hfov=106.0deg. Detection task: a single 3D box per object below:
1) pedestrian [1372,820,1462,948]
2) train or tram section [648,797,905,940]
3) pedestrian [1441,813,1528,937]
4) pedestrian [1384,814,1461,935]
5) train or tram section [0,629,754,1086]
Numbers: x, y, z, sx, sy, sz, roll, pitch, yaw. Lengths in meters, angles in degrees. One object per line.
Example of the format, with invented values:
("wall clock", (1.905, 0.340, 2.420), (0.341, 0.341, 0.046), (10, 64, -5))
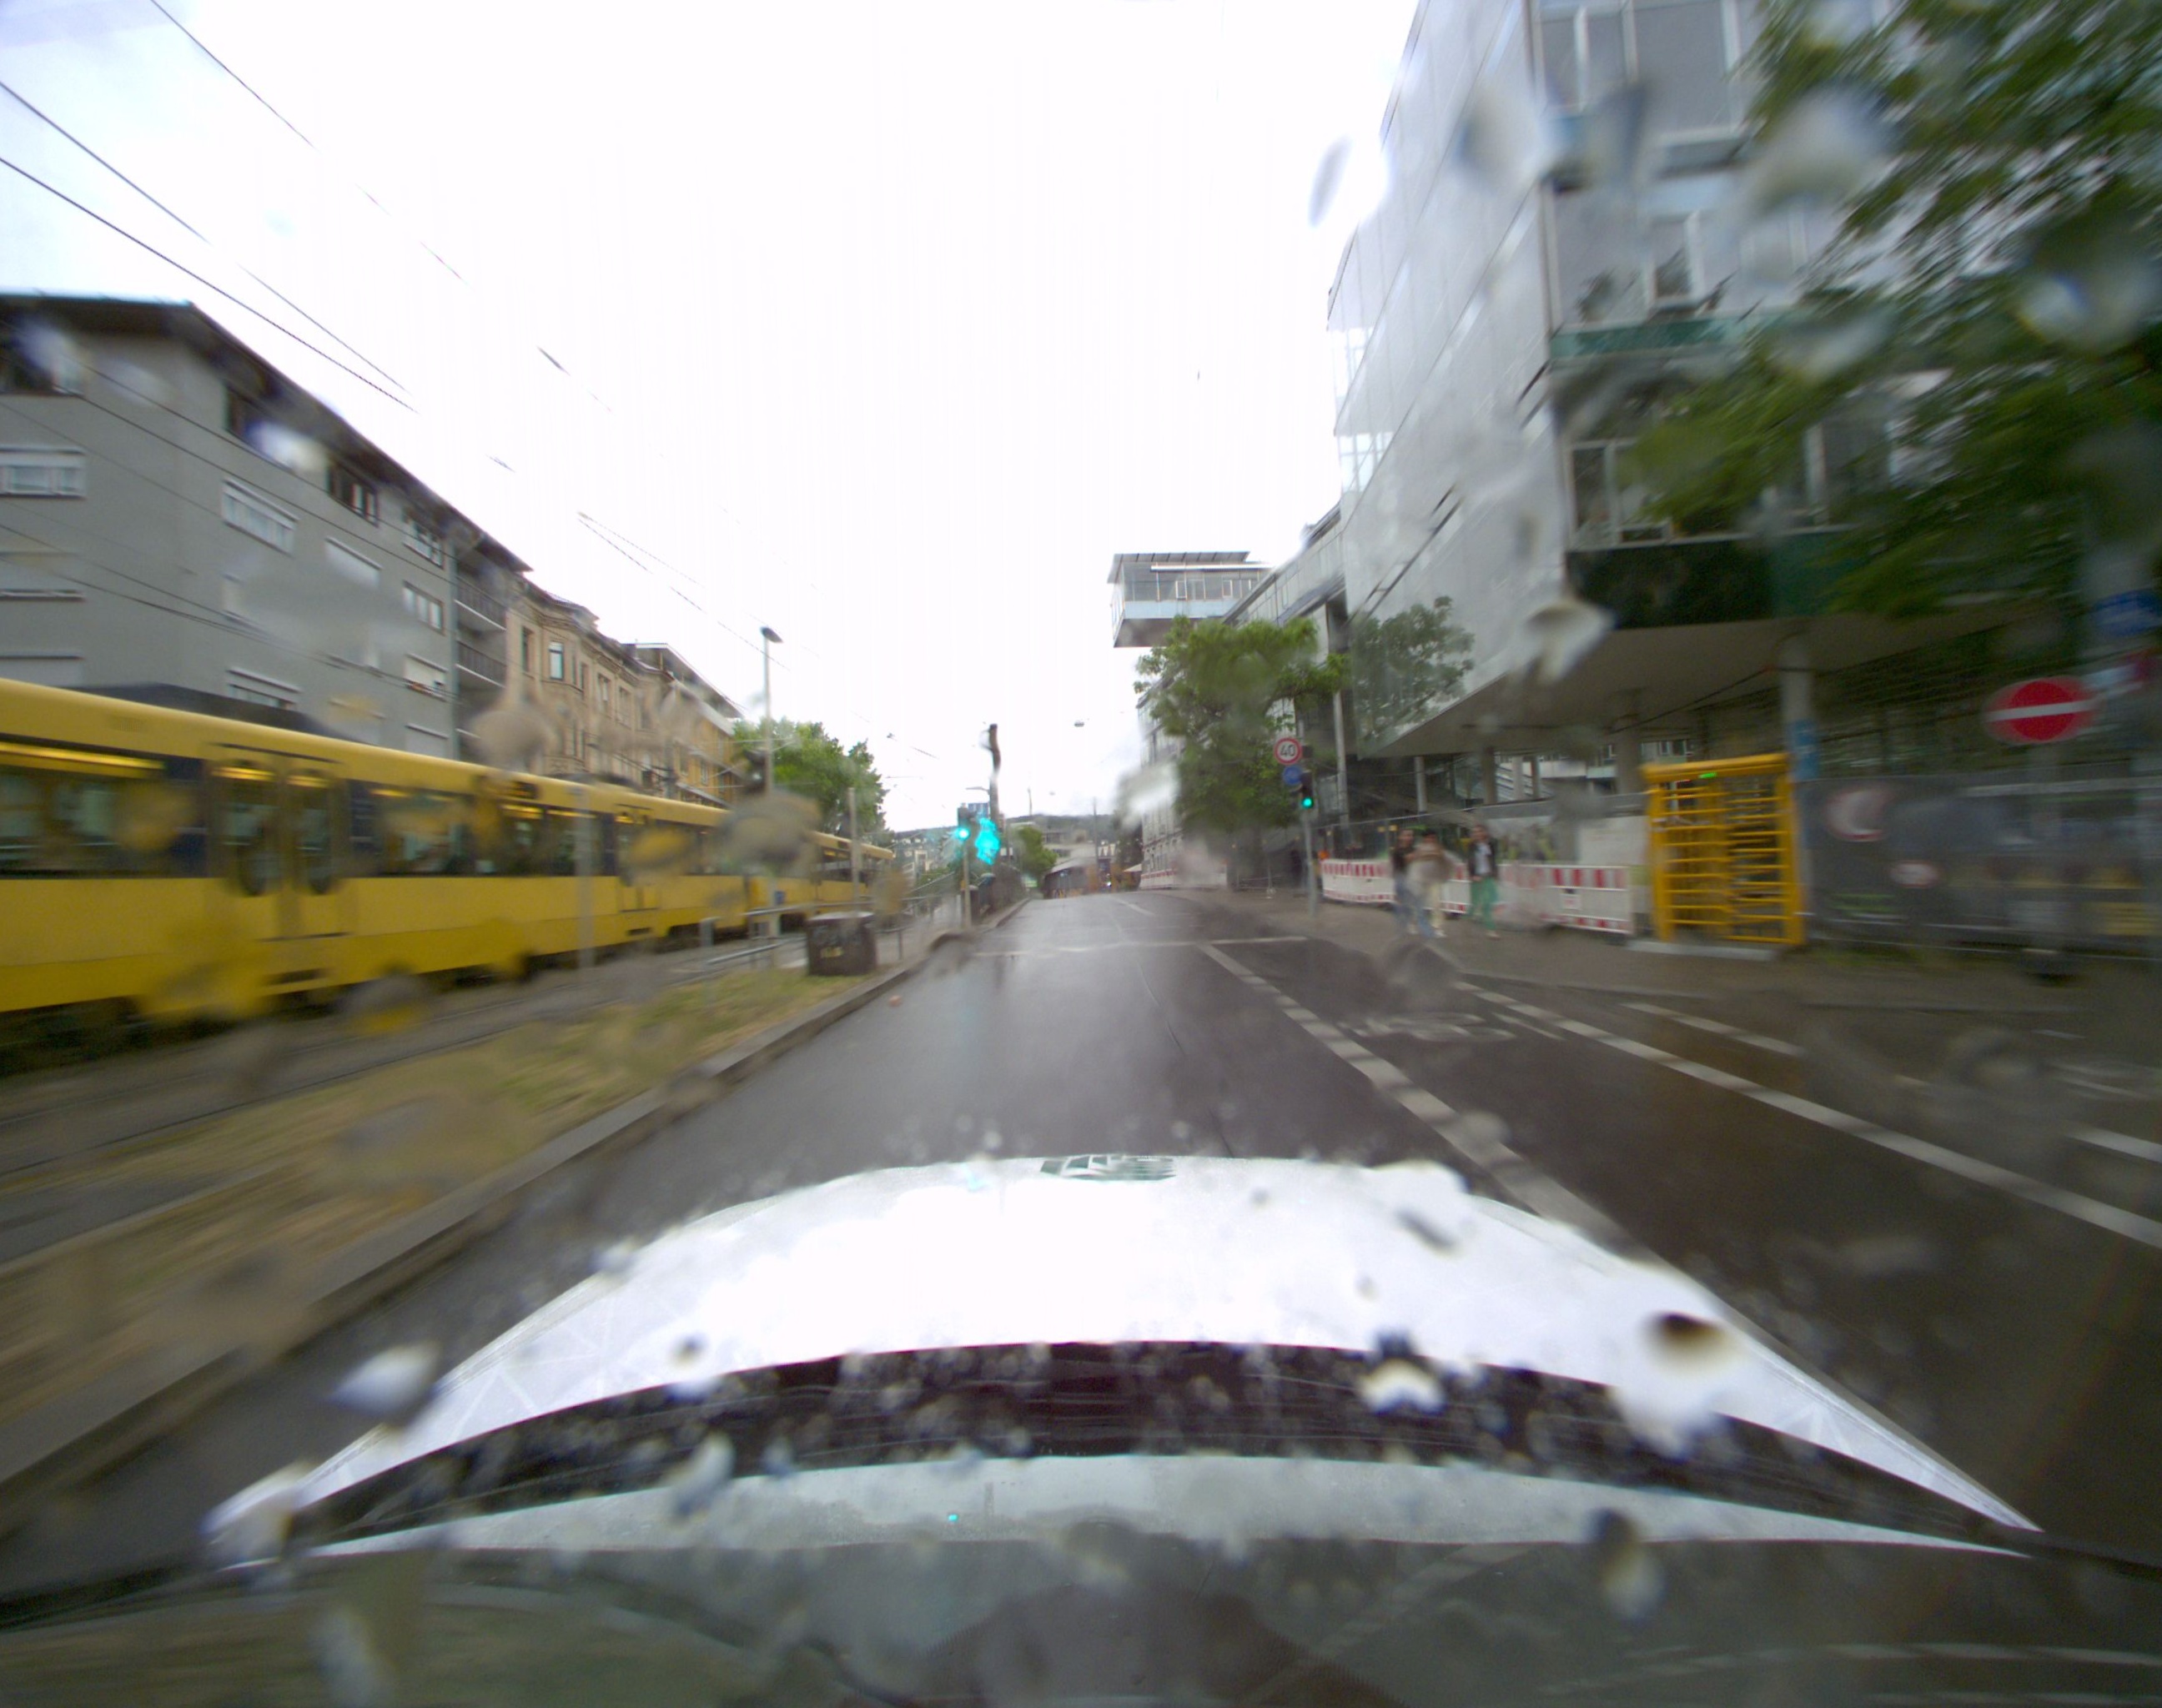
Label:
("pedestrian", (4.827, 0.407, 11.764), (0.735, 1.729, 1.118), (-3, 0, -2))
("train or tram section", (-10.204, 0.579, 31.305), (2.738, 3.697, 18.963), (-3, -1, 0))
("pedestrian", (6.183, 0.308, 12.526), (0.698, 1.785, 1.066), (-3, 0, -2))
("pedestrian", (5.410, 0.312, 12.943), (0.698, 1.815, 0.976), (-3, 0, -2))
("train or tram section", (-10.135, 0.193, 12.289), (2.738, 3.697, 18.963), (-3, -1, 0))
